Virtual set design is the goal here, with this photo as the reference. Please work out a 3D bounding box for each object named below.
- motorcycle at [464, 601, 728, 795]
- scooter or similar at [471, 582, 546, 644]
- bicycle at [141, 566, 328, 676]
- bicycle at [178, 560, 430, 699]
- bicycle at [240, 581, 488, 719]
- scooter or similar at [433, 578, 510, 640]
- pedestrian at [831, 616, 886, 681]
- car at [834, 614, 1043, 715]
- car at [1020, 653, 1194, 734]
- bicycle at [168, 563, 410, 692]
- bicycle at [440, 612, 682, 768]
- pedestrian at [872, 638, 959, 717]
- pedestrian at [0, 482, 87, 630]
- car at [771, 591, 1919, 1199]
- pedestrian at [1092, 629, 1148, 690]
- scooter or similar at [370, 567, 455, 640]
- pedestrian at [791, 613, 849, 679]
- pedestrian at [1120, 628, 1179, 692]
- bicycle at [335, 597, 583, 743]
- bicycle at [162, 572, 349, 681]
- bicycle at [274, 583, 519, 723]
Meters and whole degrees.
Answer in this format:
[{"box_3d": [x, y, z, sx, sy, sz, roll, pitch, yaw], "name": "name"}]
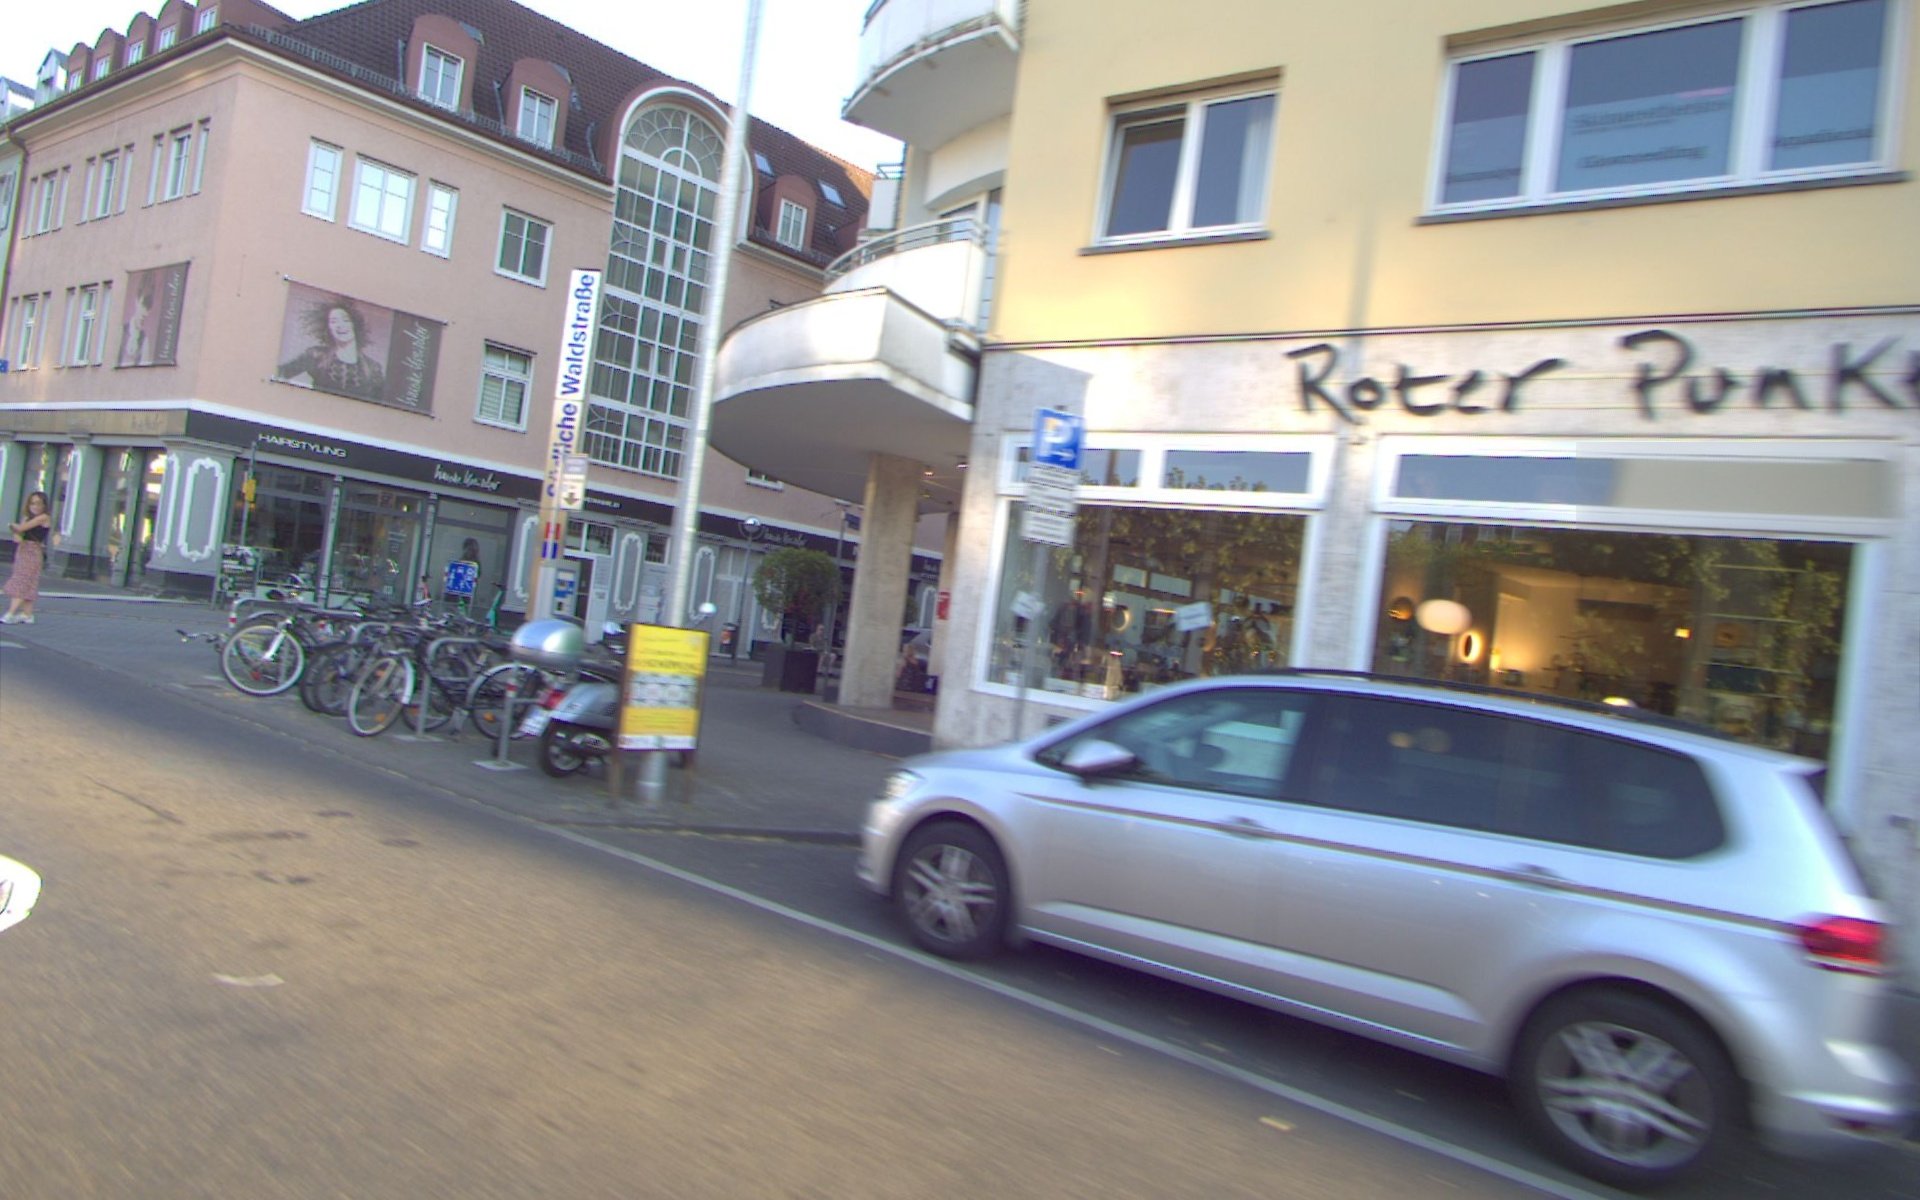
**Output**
[{"box_3d": [-2.775, 0.747, 7.899, 0.704, 1.278, 1.816, 7, -1, 29], "name": "motorcycle"}, {"box_3d": [-10.046, 0.302, 22.403, 0.502, 1.177, 1.315, 6, -3, 43], "name": "scooter or similar"}, {"box_3d": [-7.960, 0.260, 11.109, 0.504, 1.027, 1.504, 7, -2, 29], "name": "bicycle"}, {"box_3d": [-6.441, 0.341, 10.009, 0.710, 1.181, 1.889, 7, -2, 28], "name": "bicycle"}, {"box_3d": [-5.607, 0.522, 9.604, 0.591, 1.125, 1.889, 7, -2, 29], "name": "bicycle"}, {"box_3d": [-10.838, 0.205, 22.333, 0.516, 1.177, 1.317, 6, -3, 38], "name": "scooter or similar"}, {"box_3d": [-2.701, 1.286, 26.765, 1.038, 1.582, 0.824, 8, -1, -35], "name": "pedestrian"}, {"box_3d": [-0.415, 1.391, 21.438, 3.970, 1.587, 1.908, 10, -2, -38], "name": "car"}, {"box_3d": [3.650, 2.324, 24.763, 3.970, 1.473, 1.929, 10, -2, -38], "name": "car"}, {"box_3d": [-7.002, 0.335, 10.623, 0.749, 1.125, 1.890, 7, -2, 28], "name": "bicycle"}, {"box_3d": [-3.342, 0.767, 8.634, 0.583, 1.125, 1.888, 7, -1, 28], "name": "bicycle"}, {"box_3d": [-0.770, 1.336, 17.410, 1.160, 1.187, 0.730, 7, -1, 25], "name": "pedestrian"}, {"box_3d": [-11.897, -0.562, 12.764, 0.797, 1.740, 0.797, 7, -1, 25], "name": "pedestrian"}, {"box_3d": [1.623, 1.092, 4.947, 4.722, 1.631, 1.998, 7, -2, 30], "name": "car"}, {"box_3d": [5.166, 1.923, 32.573, 1.148, 1.783, 1.132, 8, -1, -34], "name": "pedestrian"}, {"box_3d": [-11.041, 0.077, 20.297, 1.311, 1.279, 0.519, 9, -2, -37], "name": "scooter or similar"}, {"box_3d": [-3.695, 1.208, 26.494, 0.978, 1.542, 1.037, 8, -1, -35], "name": "pedestrian"}, {"box_3d": [5.938, 1.879, 31.561, 1.180, 1.783, 1.132, 8, -1, -34], "name": "pedestrian"}, {"box_3d": [-4.398, 0.657, 9.004, 0.583, 1.125, 1.890, 5, -3, 28], "name": "bicycle"}, {"box_3d": [-7.553, 0.315, 10.860, 0.503, 1.038, 1.504, 7, -1, 27], "name": "bicycle"}, {"box_3d": [-5.142, 0.541, 9.343, 0.512, 1.125, 1.890, 7, -3, 28], "name": "bicycle"}]
